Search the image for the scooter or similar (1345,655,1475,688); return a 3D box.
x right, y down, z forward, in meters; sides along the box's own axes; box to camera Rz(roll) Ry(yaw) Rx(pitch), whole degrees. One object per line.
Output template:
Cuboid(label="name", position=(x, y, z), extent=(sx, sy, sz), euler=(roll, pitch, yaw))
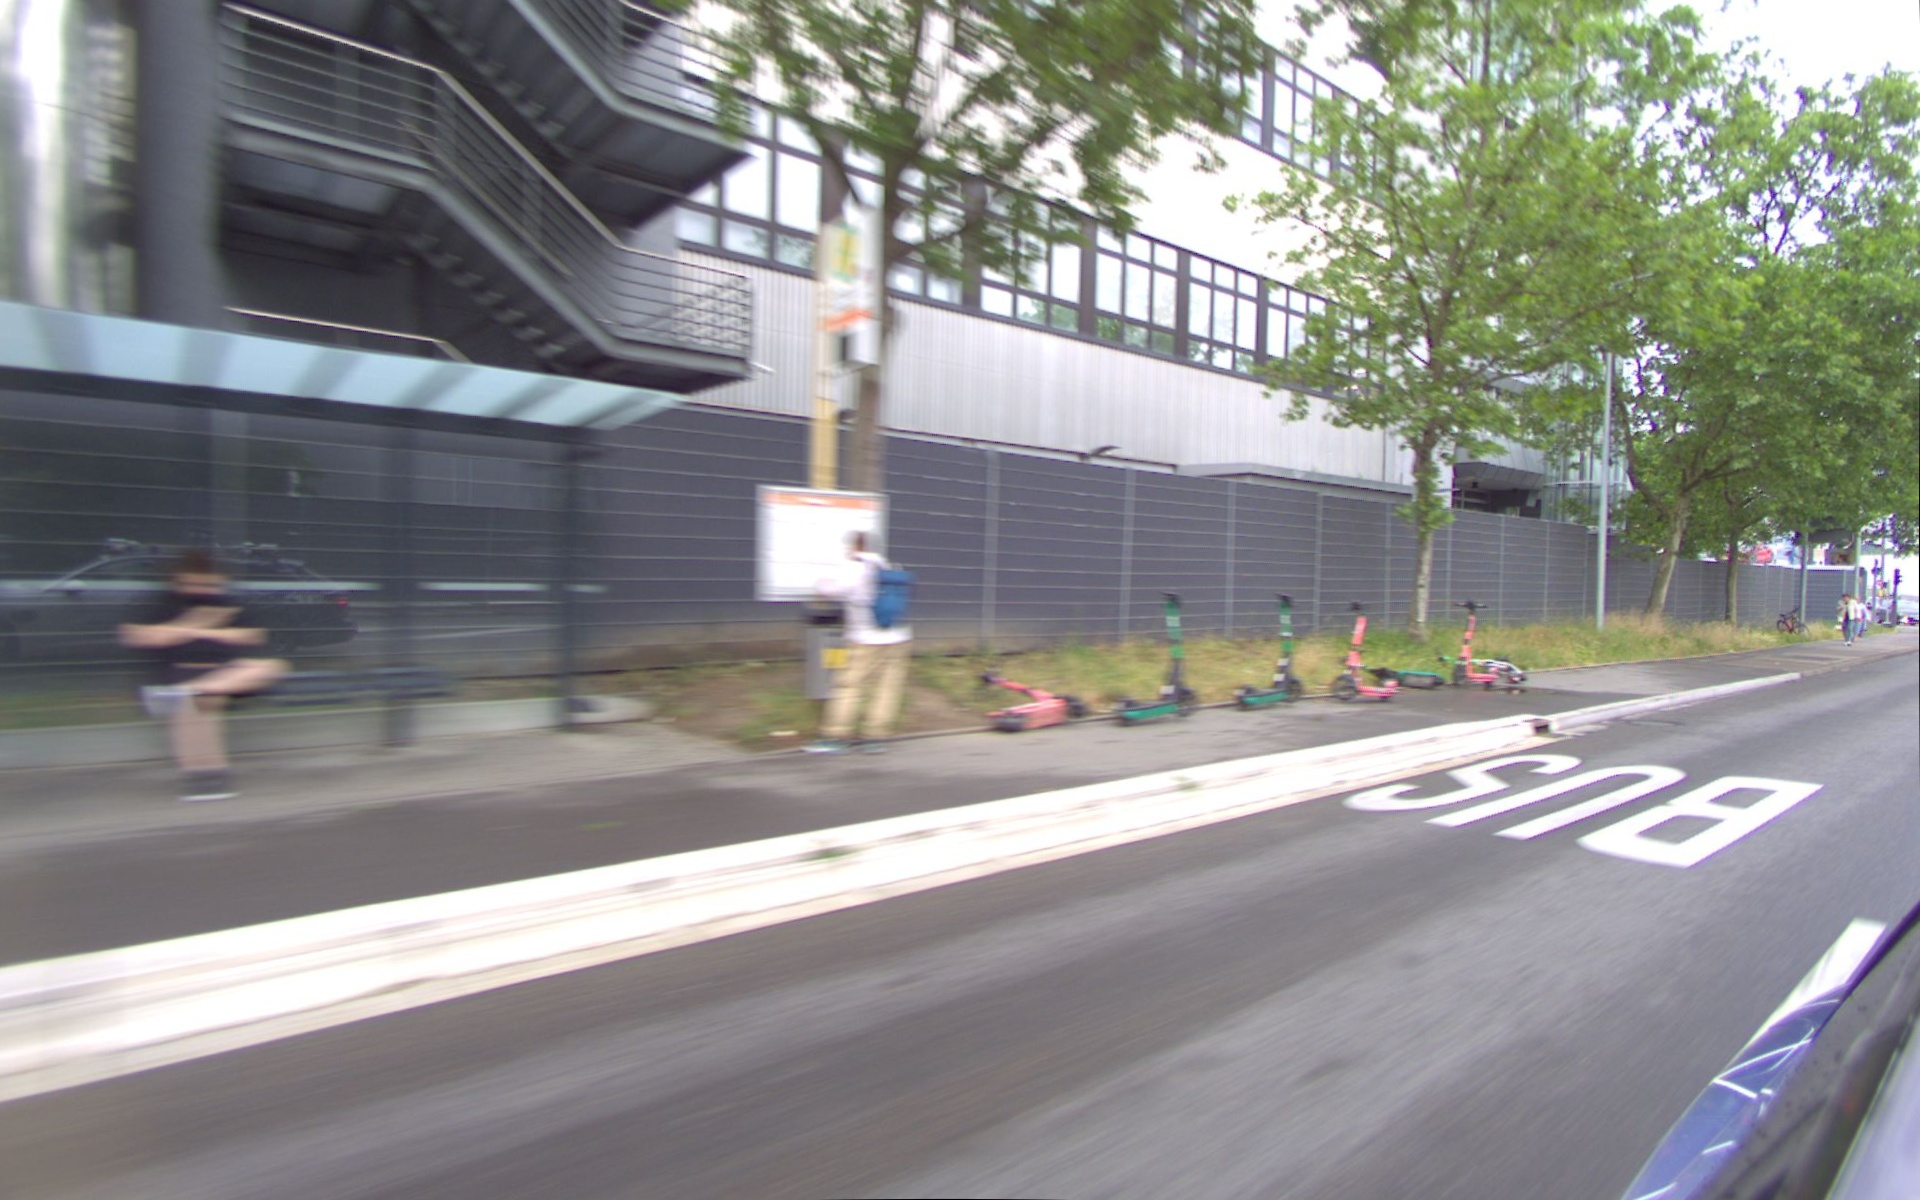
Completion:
Cuboid(label="scooter or similar", position=(6.324, 1.000, 14.275), extent=(1.231, 0.349, 1.104), euler=(1, 2, -16))

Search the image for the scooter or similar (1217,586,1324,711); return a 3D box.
Cuboid(label="scooter or similar", position=(3.469, 0.513, 11.263), extent=(1.276, 1.311, 0.437), euler=(0, 2, -37))

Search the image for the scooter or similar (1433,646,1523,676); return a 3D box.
Cuboid(label="scooter or similar", position=(8.283, 0.965, 16.256), extent=(1.169, 0.314, 1.194), euler=(3, 2, 22))

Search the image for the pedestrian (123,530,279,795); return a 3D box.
Cuboid(label="pedestrian", position=(-4.540, 0.317, 6.041), extent=(0.686, 1.433, 0.932), euler=(0, 2, -40))

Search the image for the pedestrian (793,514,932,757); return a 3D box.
Cuboid(label="pedestrian", position=(-0.752, 0.237, 7.747), extent=(0.716, 1.731, 0.778), euler=(0, 2, -40))

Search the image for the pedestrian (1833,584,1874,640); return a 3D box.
Cuboid(label="pedestrian", position=(27.460, 0.347, 31.107), extent=(0.818, 1.638, 0.723), euler=(0, 5, -41))

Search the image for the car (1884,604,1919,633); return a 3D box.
Cuboid(label="car", position=(55.980, 1.105, 59.044), extent=(1.862, 1.537, 3.820), euler=(4, 3, 24))

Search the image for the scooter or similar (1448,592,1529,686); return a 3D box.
Cuboid(label="scooter or similar", position=(7.747, 0.554, 14.815), extent=(1.275, 1.301, 0.438), euler=(1, 2, -33))

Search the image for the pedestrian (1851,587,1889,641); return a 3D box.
Cuboid(label="pedestrian", position=(30.062, 0.452, 33.436), extent=(0.818, 1.686, 0.723), euler=(0, 5, -41))

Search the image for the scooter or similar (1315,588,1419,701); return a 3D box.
Cuboid(label="scooter or similar", position=(5.002, 0.524, 12.420), extent=(1.340, 1.311, 0.438), euler=(1, 2, -33))

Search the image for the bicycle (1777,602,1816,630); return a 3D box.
Cuboid(label="bicycle", position=(28.316, 0.523, 34.246), extent=(1.872, 0.886, 0.727), euler=(-1, 2, -41))

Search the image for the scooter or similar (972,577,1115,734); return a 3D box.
Cuboid(label="scooter or similar", position=(0.760, 0.467, 9.057), extent=(1.276, 1.311, 0.437), euler=(0, 2, -37))

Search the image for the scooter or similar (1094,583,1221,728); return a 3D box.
Cuboid(label="scooter or similar", position=(1.929, 0.507, 9.825), extent=(1.276, 1.311, 0.437), euler=(0, 2, -37))
